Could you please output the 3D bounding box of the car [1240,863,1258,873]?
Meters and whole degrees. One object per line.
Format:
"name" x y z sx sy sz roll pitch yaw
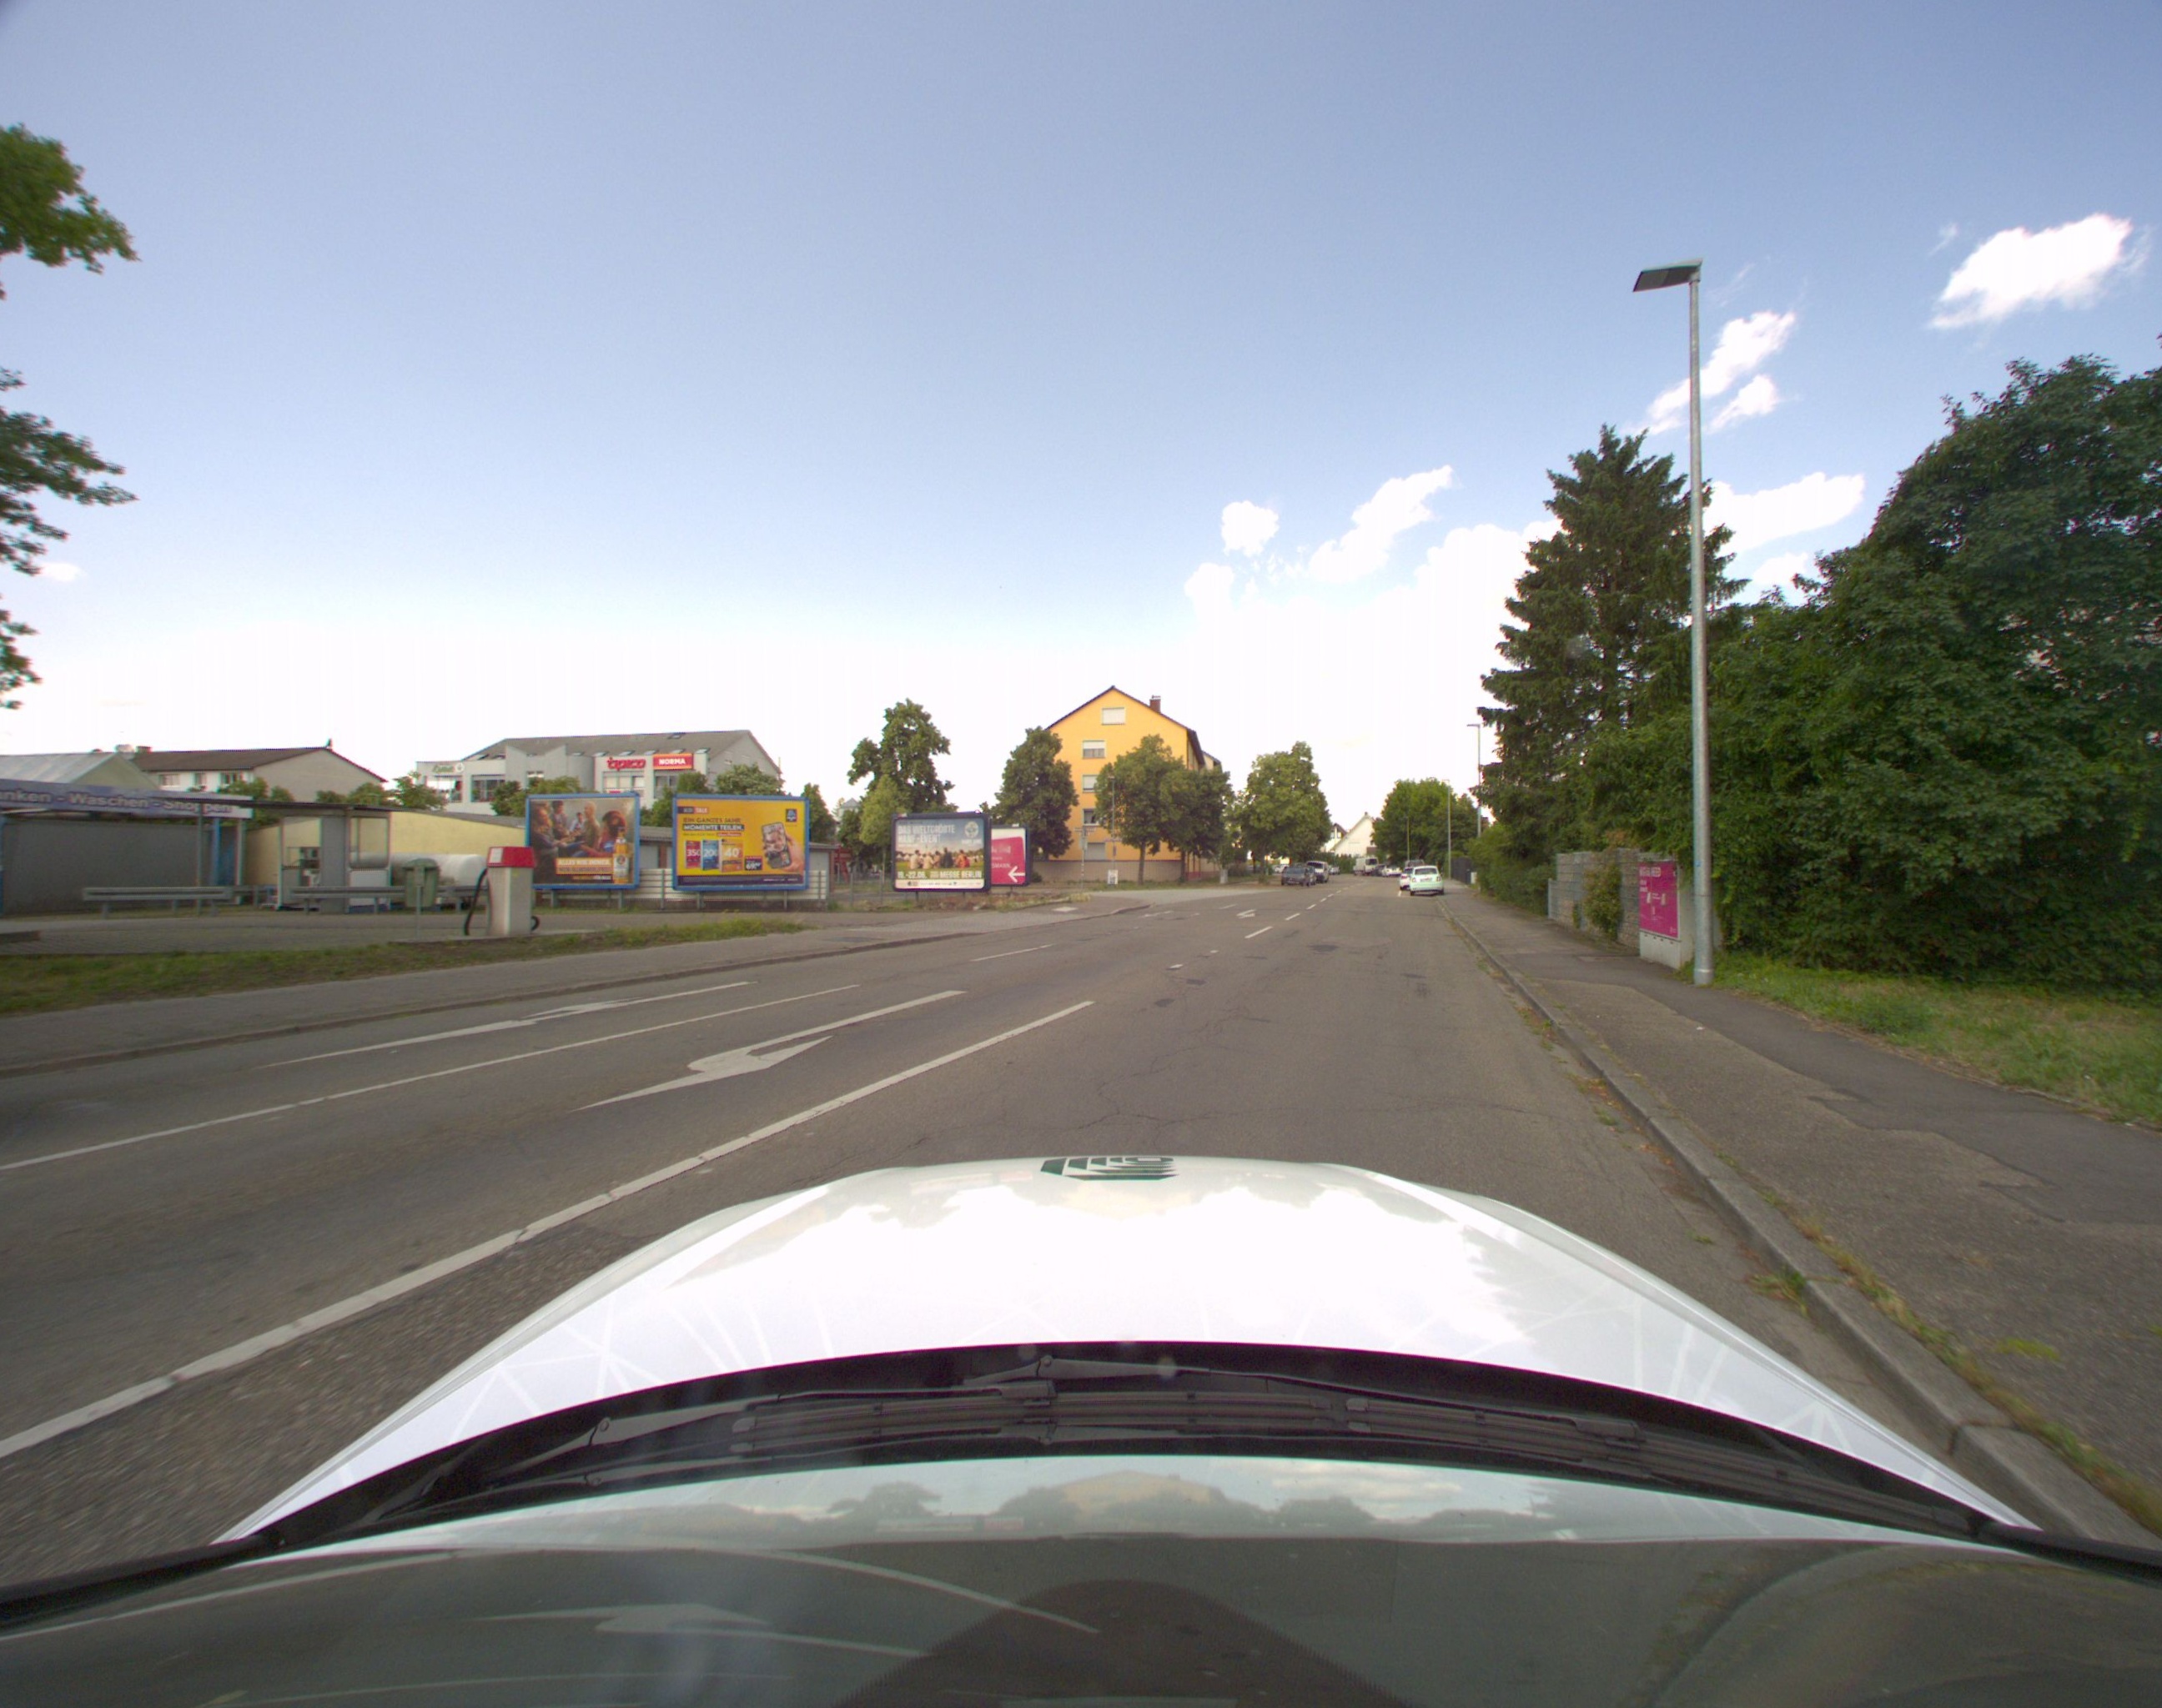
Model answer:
"car" 27.807 2.305 134.828 1.782 1.457 4.431 4 -1 -2

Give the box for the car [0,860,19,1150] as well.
"car" -7.034 0.773 2.910 1.540 1.517 3.628 -1 -1 22

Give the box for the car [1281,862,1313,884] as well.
"car" 16.333 1.450 61.546 1.669 1.486 4.005 2 -1 24

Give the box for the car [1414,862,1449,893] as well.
"car" 18.129 1.194 42.169 1.567 1.520 3.775 -1 -1 22

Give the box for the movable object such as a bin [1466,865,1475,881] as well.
"movable object such as a bin" 26.065 1.258 54.531 0.512 1.039 0.633 -1 -1 22

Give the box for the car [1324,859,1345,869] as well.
"car" 38.009 1.457 122.281 1.732 1.457 4.363 0 -1 -1

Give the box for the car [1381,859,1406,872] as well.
"car" 35.899 1.328 93.655 1.730 1.512 4.467 0 -1 7

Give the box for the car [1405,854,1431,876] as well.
"car" 32.203 1.084 77.902 1.827 1.944 4.899 -3 -2 19

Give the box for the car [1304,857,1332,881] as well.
"car" 21.788 1.303 74.842 1.863 2.009 5.350 3 1 21

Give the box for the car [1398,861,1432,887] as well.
"car" 20.200 1.196 49.212 1.705 1.486 3.770 -1 -1 25

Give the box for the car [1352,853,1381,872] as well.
"car" 37.613 1.145 107.479 2.108 2.441 5.901 0 -1 4

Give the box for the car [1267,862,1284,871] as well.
"car" 35.944 2.280 150.521 1.792 1.523 3.965 0 -1 -5

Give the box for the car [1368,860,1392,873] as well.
"car" 37.020 1.565 100.863 1.709 1.585 4.129 0 -1 5

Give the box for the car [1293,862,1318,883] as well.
"car" 18.658 1.527 67.574 1.505 1.549 3.775 5 2 21
